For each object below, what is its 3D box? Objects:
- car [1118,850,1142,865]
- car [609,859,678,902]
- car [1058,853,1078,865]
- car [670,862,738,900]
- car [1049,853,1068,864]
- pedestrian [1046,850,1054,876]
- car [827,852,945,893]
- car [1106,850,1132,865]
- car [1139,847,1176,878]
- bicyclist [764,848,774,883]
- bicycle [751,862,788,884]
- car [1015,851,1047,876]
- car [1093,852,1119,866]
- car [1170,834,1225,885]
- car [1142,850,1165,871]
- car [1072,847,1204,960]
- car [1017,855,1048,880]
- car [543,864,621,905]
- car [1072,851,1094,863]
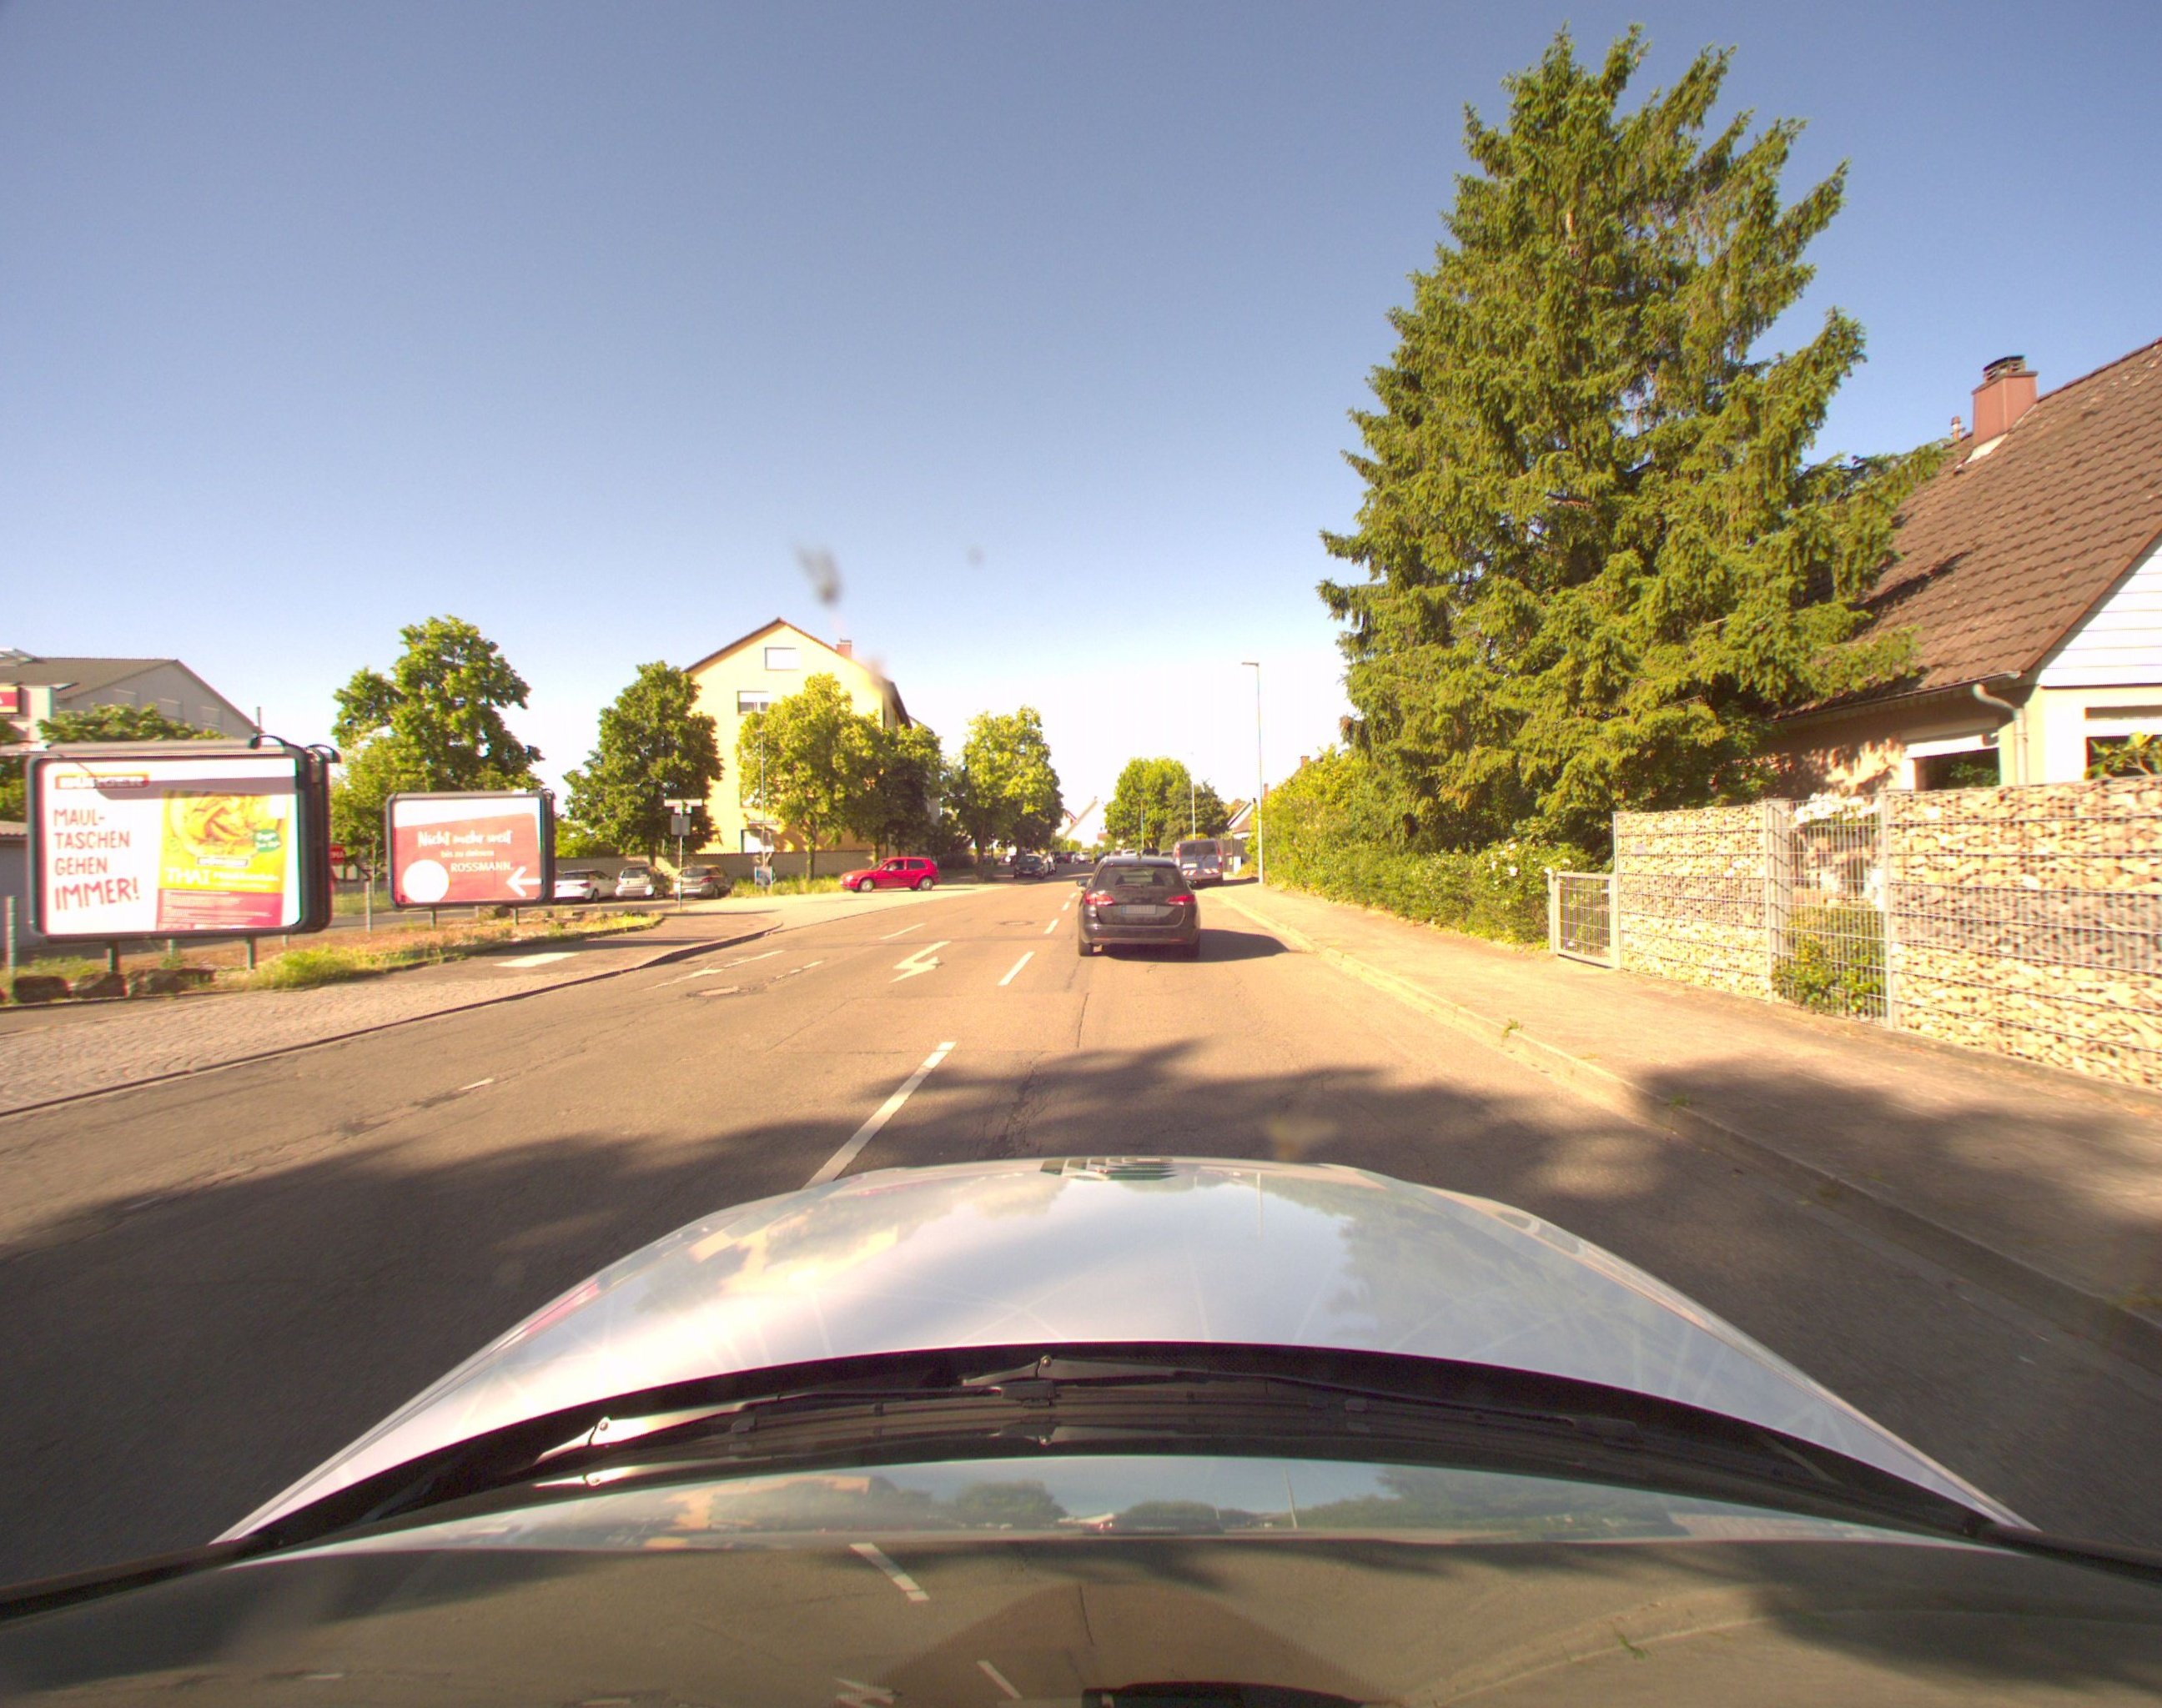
[{"bbox_3d":[5.240,0.397,86.847,1.759,1.480,4.283,-2,0,-7],"label":"car"},{"bbox_3d":[-19.658,1.141,36.764,1.699,1.621,3.865,-2,2,-13],"label":"car"},{"bbox_3d":[-1.777,0.641,111.356,1.823,1.534,4.238,-2,-1,-14],"label":"car"},{"bbox_3d":[-16.661,1.131,36.151,1.729,1.464,3.868,-2,1,-10],"label":"car"},{"bbox_3d":[-3.200,0.633,116.809,1.823,1.534,4.238,-2,-1,-14],"label":"car"},{"bbox_3d":[-2.134,0.639,56.344,0.503,1.761,0.695,-2,-2,-1],"label":"pedestrian"},{"bbox_3d":[-8.176,0.728,34.264,4.409,1.568,1.998,-1,1,-33],"label":"car"},{"bbox_3d":[4.270,0.401,91.599,1.912,1.600,4.277,-2,-1,-11],"label":"car"},{"bbox_3d":[4.092,0.423,44.128,1.758,1.480,4.996,-3,0,4],"label":"car"},{"bbox_3d":[-15.451,0.564,40.374,0.390,1.686,0.378,-1,-2,-29],"label":"bicyclist"},{"bbox_3d":[-15.438,0.923,40.355,1.627,1.011,0.402,-1,0,-29],"label":"bicycle"},{"bbox_3d":[-3.027,0.599,50.151,1.695,1.480,4.051,0,-2,0],"label":"car"},{"bbox_3d":[2.975,0.620,96.902,2.008,1.475,4.275,-2,-1,-13],"label":"car"},{"bbox_3d":[4.688,0.199,33.412,1.829,1.907,4.702,-1,0,4],"label":"car"},{"bbox_3d":[6.272,0.554,70.898,1.770,1.724,4.298,-2,0,3],"label":"car"},{"bbox_3d":[0.877,0.683,13.082,1.754,1.491,4.294,-1,-1,3],"label":"car"},{"bbox_3d":[-3.285,0.942,55.745,1.695,1.523,4.052,-3,-2,1],"label":"car"},{"bbox_3d":[-21.769,1.274,35.689,1.699,1.463,3.865,-2,3,-13],"label":"car"},{"bbox_3d":[0.218,0.388,106.062,1.823,1.534,4.238,-2,-1,-14],"label":"car"}]
